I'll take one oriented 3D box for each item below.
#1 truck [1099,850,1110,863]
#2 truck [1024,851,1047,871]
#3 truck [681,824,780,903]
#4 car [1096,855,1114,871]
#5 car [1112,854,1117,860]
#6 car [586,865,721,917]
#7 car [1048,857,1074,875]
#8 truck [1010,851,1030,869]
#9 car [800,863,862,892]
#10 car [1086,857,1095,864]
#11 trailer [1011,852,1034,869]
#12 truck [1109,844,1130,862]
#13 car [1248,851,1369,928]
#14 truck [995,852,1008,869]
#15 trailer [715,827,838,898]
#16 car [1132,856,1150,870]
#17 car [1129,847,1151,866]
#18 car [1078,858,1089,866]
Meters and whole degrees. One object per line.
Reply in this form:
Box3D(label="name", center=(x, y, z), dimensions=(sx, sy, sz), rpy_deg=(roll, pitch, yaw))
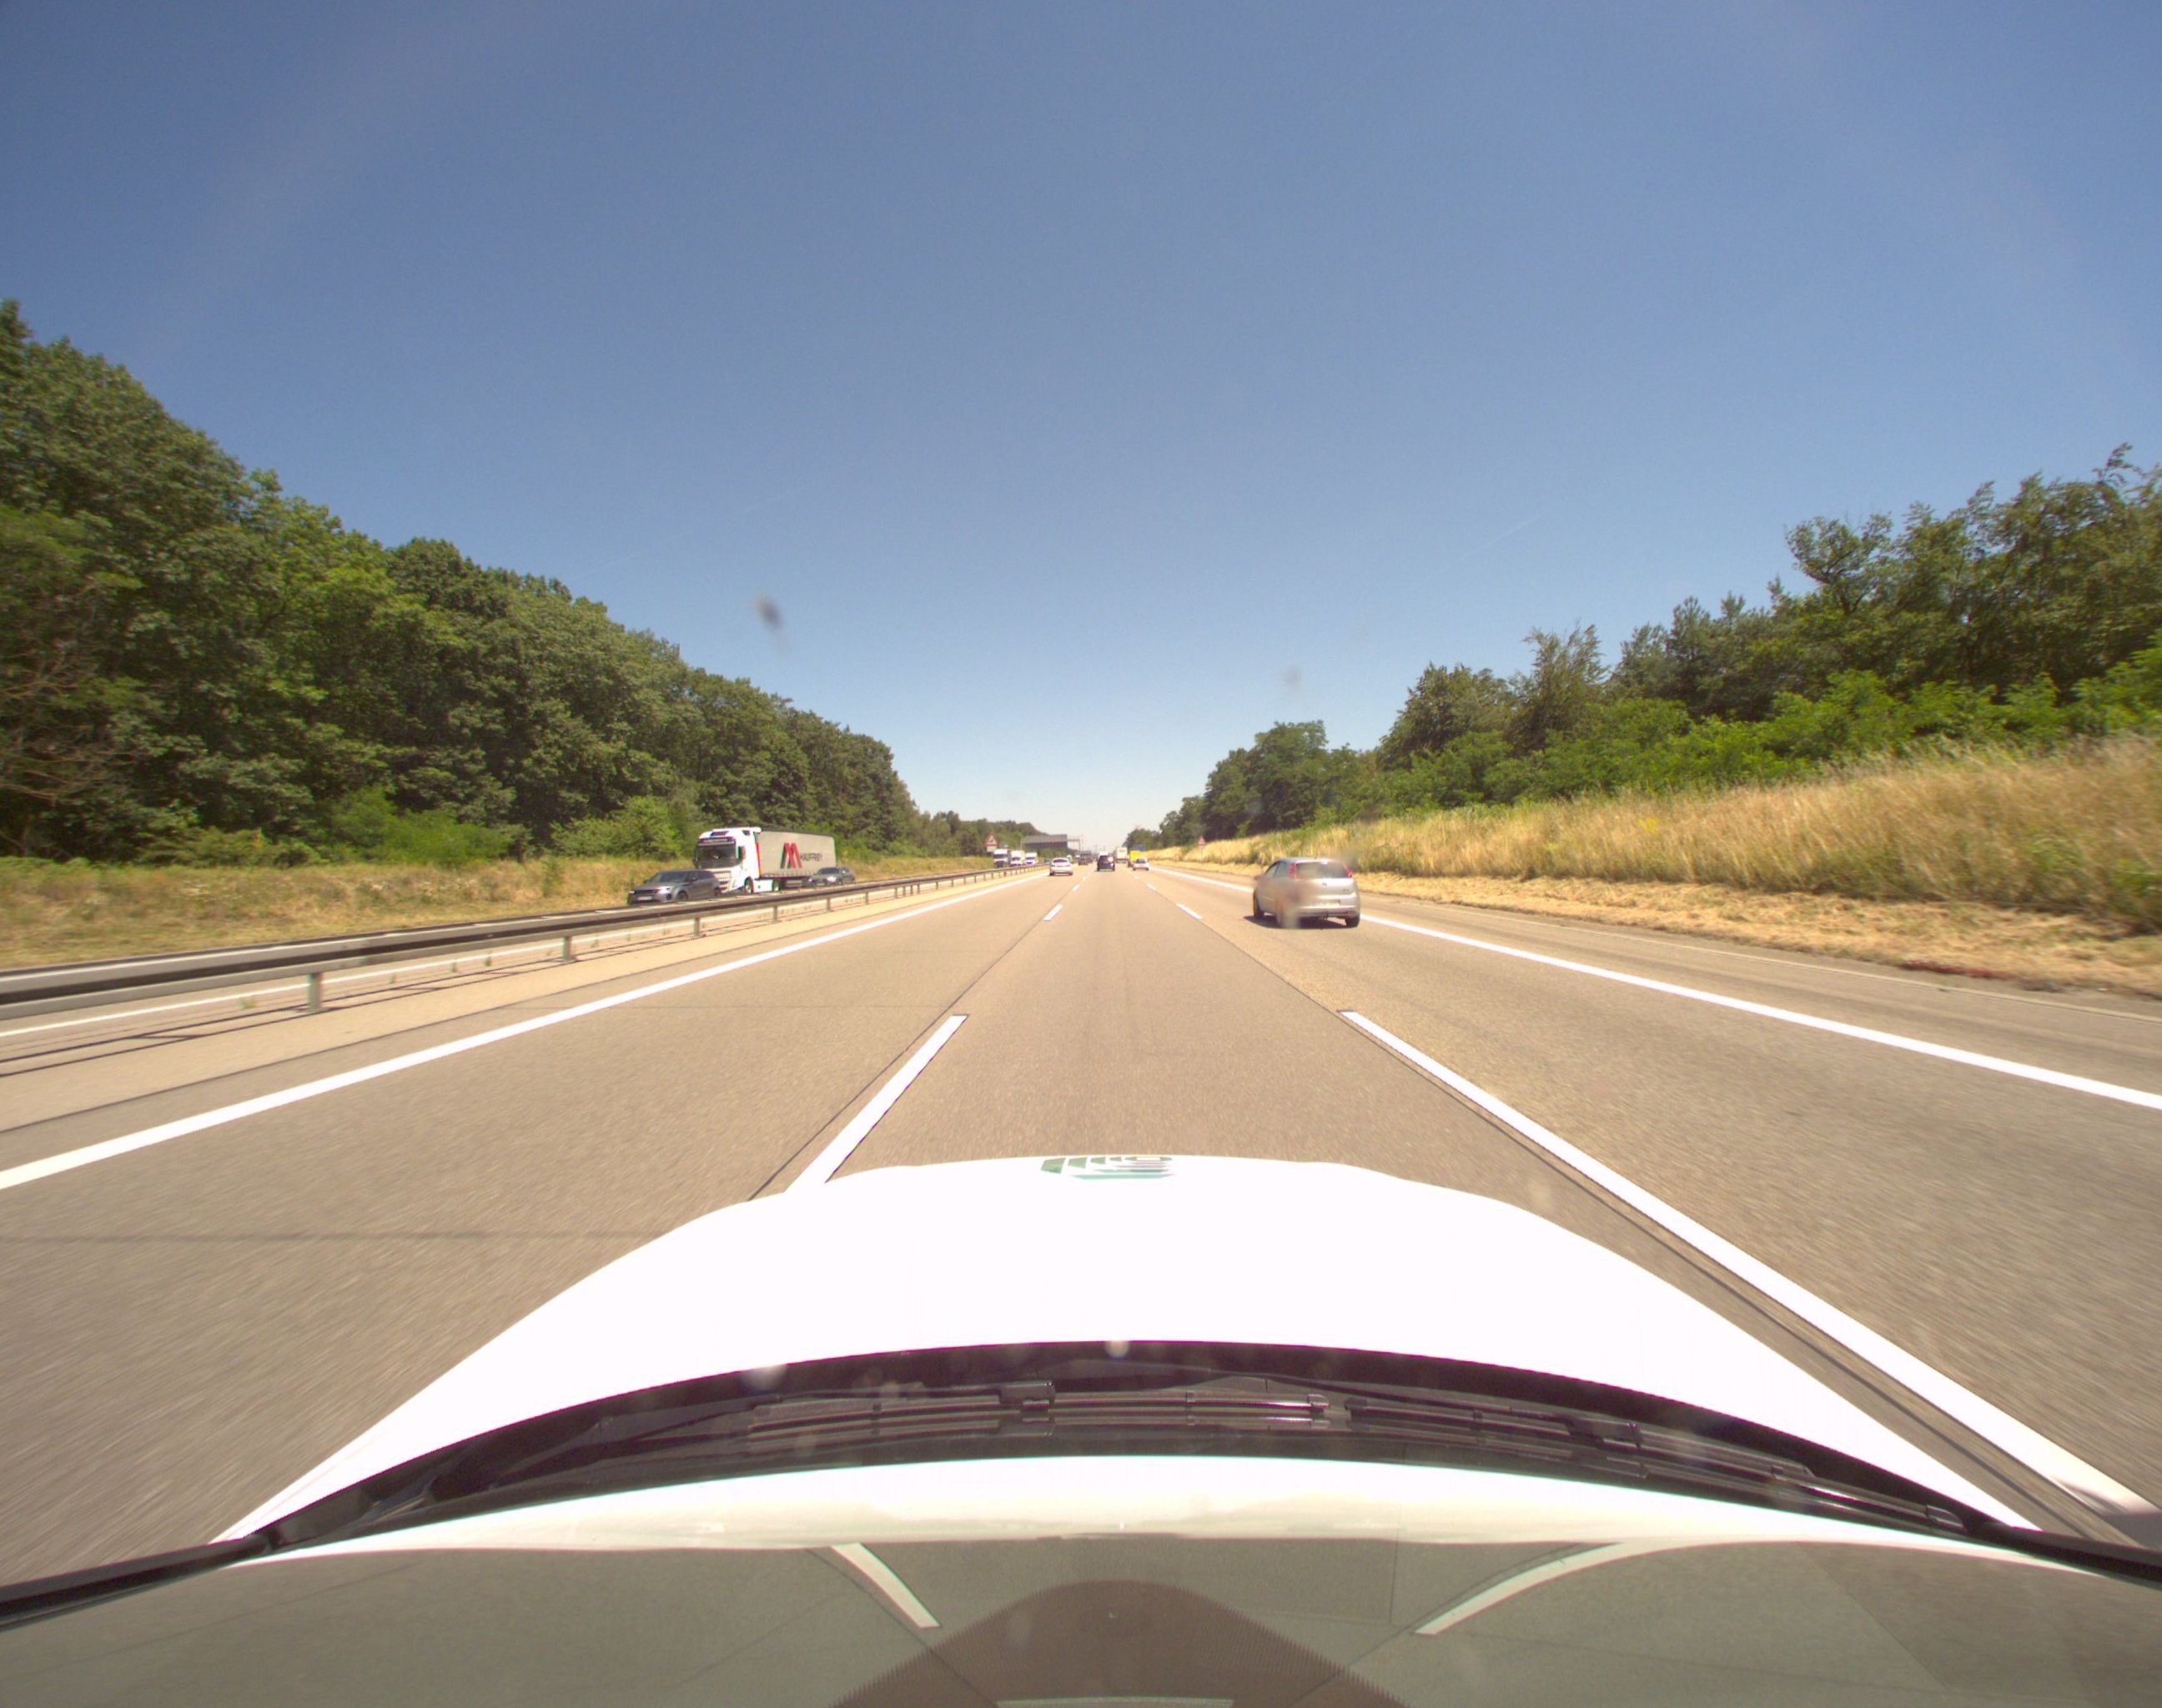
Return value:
Box3D(label="truck", center=(5.238, 0.489, 183.483), dimensions=(2.421, 2.884, 6.204), rpy_deg=(0, -1, 0))
Box3D(label="truck", center=(-8.507, 1.283, 152.797), dimensions=(3.422, 3.344, 10.574), rpy_deg=(-2, 0, 1))
Box3D(label="truck", center=(-19.858, 0.541, 46.512), dimensions=(2.894, 4.067, 5.654), rpy_deg=(-4, 0, 1))
Box3D(label="car", center=(2.608, 0.912, 87.691), dimensions=(1.826, 1.672, 3.999), rpy_deg=(0, 0, 0))
Box3D(label="car", center=(10.389, 0.965, 253.293), dimensions=(1.551, 2.014, 3.901), rpy_deg=(1, 0, 0))
Box3D(label="car", center=(-15.559, 1.268, 30.035), dimensions=(1.986, 1.567, 5.192), rpy_deg=(-4, 0, 2))
Box3D(label="car", center=(-1.634, 0.979, 68.542), dimensions=(1.956, 1.503, 5.406), rpy_deg=(-1, 0, 1))
Box3D(label="truck", center=(-11.930, 1.252, 159.742), dimensions=(3.422, 3.344, 5.238), rpy_deg=(-2, 0, 1))
Box3D(label="car", center=(-15.549, 1.437, 50.940), dimensions=(1.986, 1.567, 5.192), rpy_deg=(-4, 0, 2))
Box3D(label="car", center=(2.373, 1.663, 203.101), dimensions=(1.868, 1.580, 3.932), rpy_deg=(-1, 1, 3))
Box3D(label="trailer", center=(-11.773, 1.267, 165.387), dimensions=(3.422, 3.344, 12.025), rpy_deg=(-2, 0, 1))
Box3D(label="truck", center=(9.561, -0.189, 204.723), dimensions=(3.986, 4.315, 9.863), rpy_deg=(1, 0, -5))
Box3D(label="car", center=(4.925, 0.709, 18.125), dimensions=(1.713, 1.491, 3.738), rpy_deg=(0, 1, 1))
Box3D(label="truck", center=(-16.067, 1.220, 164.604), dimensions=(2.111, 3.344, 4.001), rpy_deg=(-2, 0, 1))
Box3D(label="trailer", center=(-19.733, 0.531, 54.060), dimensions=(2.901, 3.992, 12.959), rpy_deg=(-4, 0, 1))
Box3D(label="car", center=(6.480, 0.986, 88.693), dimensions=(1.814, 1.491, 3.738), rpy_deg=(-1, -1, 2))
Box3D(label="car", center=(8.263, 0.390, 115.474), dimensions=(2.658, 2.634, 6.111), rpy_deg=(0, -1, 0))
Box3D(label="car", center=(0.443, 1.427, 153.268), dimensions=(1.825, 1.431, 5.001), rpy_deg=(-1, 0, 2))
